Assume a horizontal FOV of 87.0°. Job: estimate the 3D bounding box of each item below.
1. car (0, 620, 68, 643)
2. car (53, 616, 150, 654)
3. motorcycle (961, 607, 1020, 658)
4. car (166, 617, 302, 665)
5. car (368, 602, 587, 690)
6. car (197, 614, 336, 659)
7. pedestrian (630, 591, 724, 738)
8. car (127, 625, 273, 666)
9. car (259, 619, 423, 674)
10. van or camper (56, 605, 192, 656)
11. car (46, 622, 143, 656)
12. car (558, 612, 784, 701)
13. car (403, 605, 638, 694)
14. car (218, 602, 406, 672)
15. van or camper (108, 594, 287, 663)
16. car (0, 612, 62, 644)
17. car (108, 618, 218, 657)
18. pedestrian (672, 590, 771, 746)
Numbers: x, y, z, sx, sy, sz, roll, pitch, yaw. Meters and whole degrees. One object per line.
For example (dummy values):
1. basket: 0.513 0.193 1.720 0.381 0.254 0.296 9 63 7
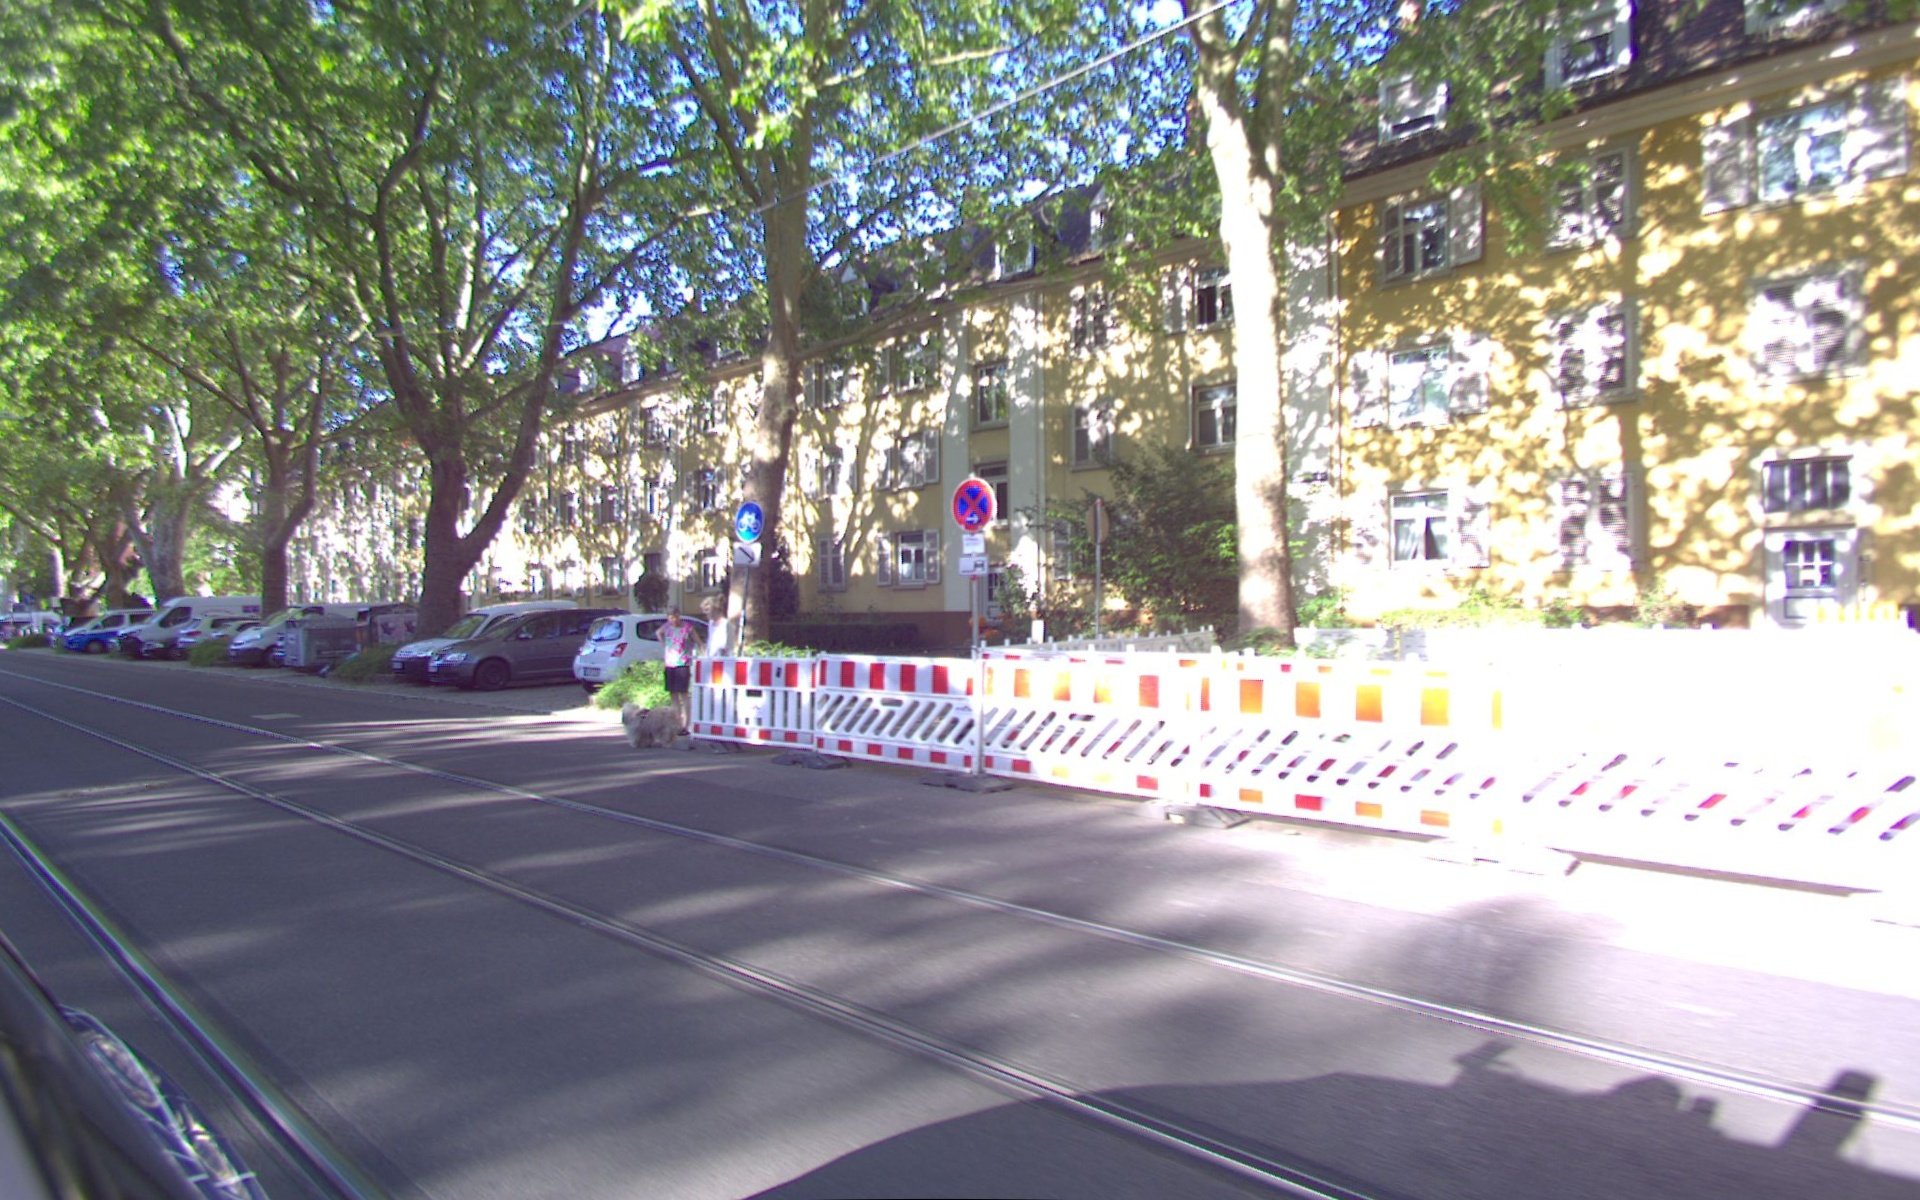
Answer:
1. car: -68.802 2.349 74.741 1.923 1.527 4.119 -2 -1 39
2. car: -45.046 1.823 53.129 1.703 1.828 3.645 -1 0 40
3. motorcycle: 0.797 0.820 25.882 0.523 1.250 1.691 -2 -1 42
4. car: -26.982 1.491 37.682 1.861 1.675 3.807 -1 -1 41
5. car: -10.895 0.967 23.096 1.738 1.771 4.158 -1 0 38
6. car: -24.986 1.292 36.541 1.861 1.509 3.807 -1 -1 41
7. pedestrian: -3.567 0.774 12.755 0.796 1.758 0.813 -1 1 41
8. car: -28.993 1.703 38.688 1.752 1.409 4.219 -1 -1 41
9. car: -18.363 1.330 30.128 1.861 1.509 3.807 -1 -1 41
10. van or camper: -40.289 1.424 48.869 2.118 2.206 4.771 -1 0 40
11. car: -46.758 2.066 54.735 1.796 1.636 3.649 -1 0 36
12. car: -5.476 1.011 19.483 1.861 1.509 3.807 -1 -1 41
13. car: -9.236 0.963 21.430 4.183 1.701 1.935 0 -1 -42
14. car: -20.432 1.108 32.074 1.959 1.960 4.613 -1 0 38
15. van or camper: -30.564 1.085 40.693 2.443 2.535 5.334 -1 0 40
16. car: -74.136 2.208 79.615 2.026 2.415 4.956 -2 -1 39
17. car: -35.439 1.628 45.063 1.613 1.577 3.642 -1 0 42
18. pedestrian: -2.837 0.767 12.050 0.796 1.758 0.813 -1 1 41
